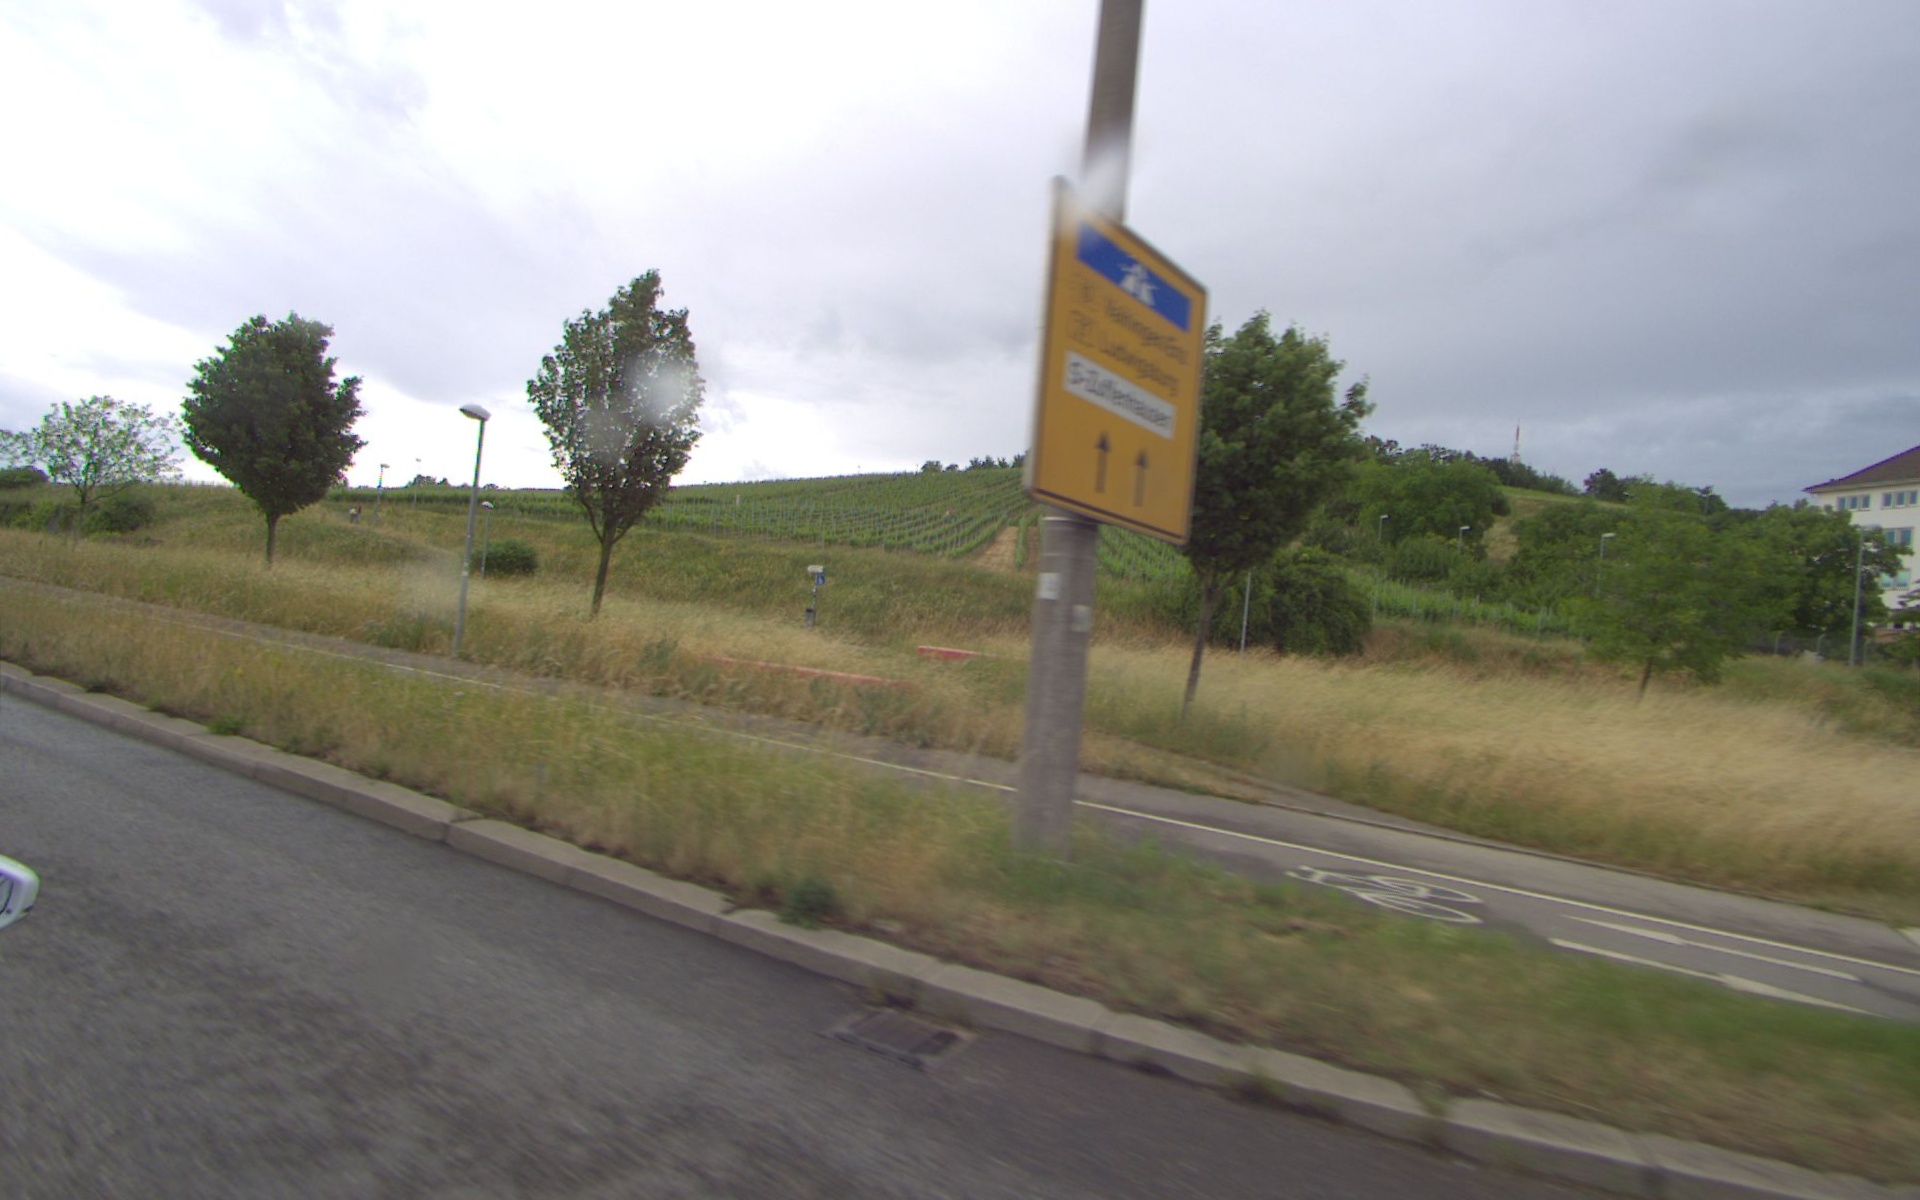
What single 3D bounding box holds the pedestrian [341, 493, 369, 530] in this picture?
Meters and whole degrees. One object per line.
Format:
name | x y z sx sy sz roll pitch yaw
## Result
pedestrian | -36.886 -5.403 61.346 1.036 2.039 0.780 7 1 -3
